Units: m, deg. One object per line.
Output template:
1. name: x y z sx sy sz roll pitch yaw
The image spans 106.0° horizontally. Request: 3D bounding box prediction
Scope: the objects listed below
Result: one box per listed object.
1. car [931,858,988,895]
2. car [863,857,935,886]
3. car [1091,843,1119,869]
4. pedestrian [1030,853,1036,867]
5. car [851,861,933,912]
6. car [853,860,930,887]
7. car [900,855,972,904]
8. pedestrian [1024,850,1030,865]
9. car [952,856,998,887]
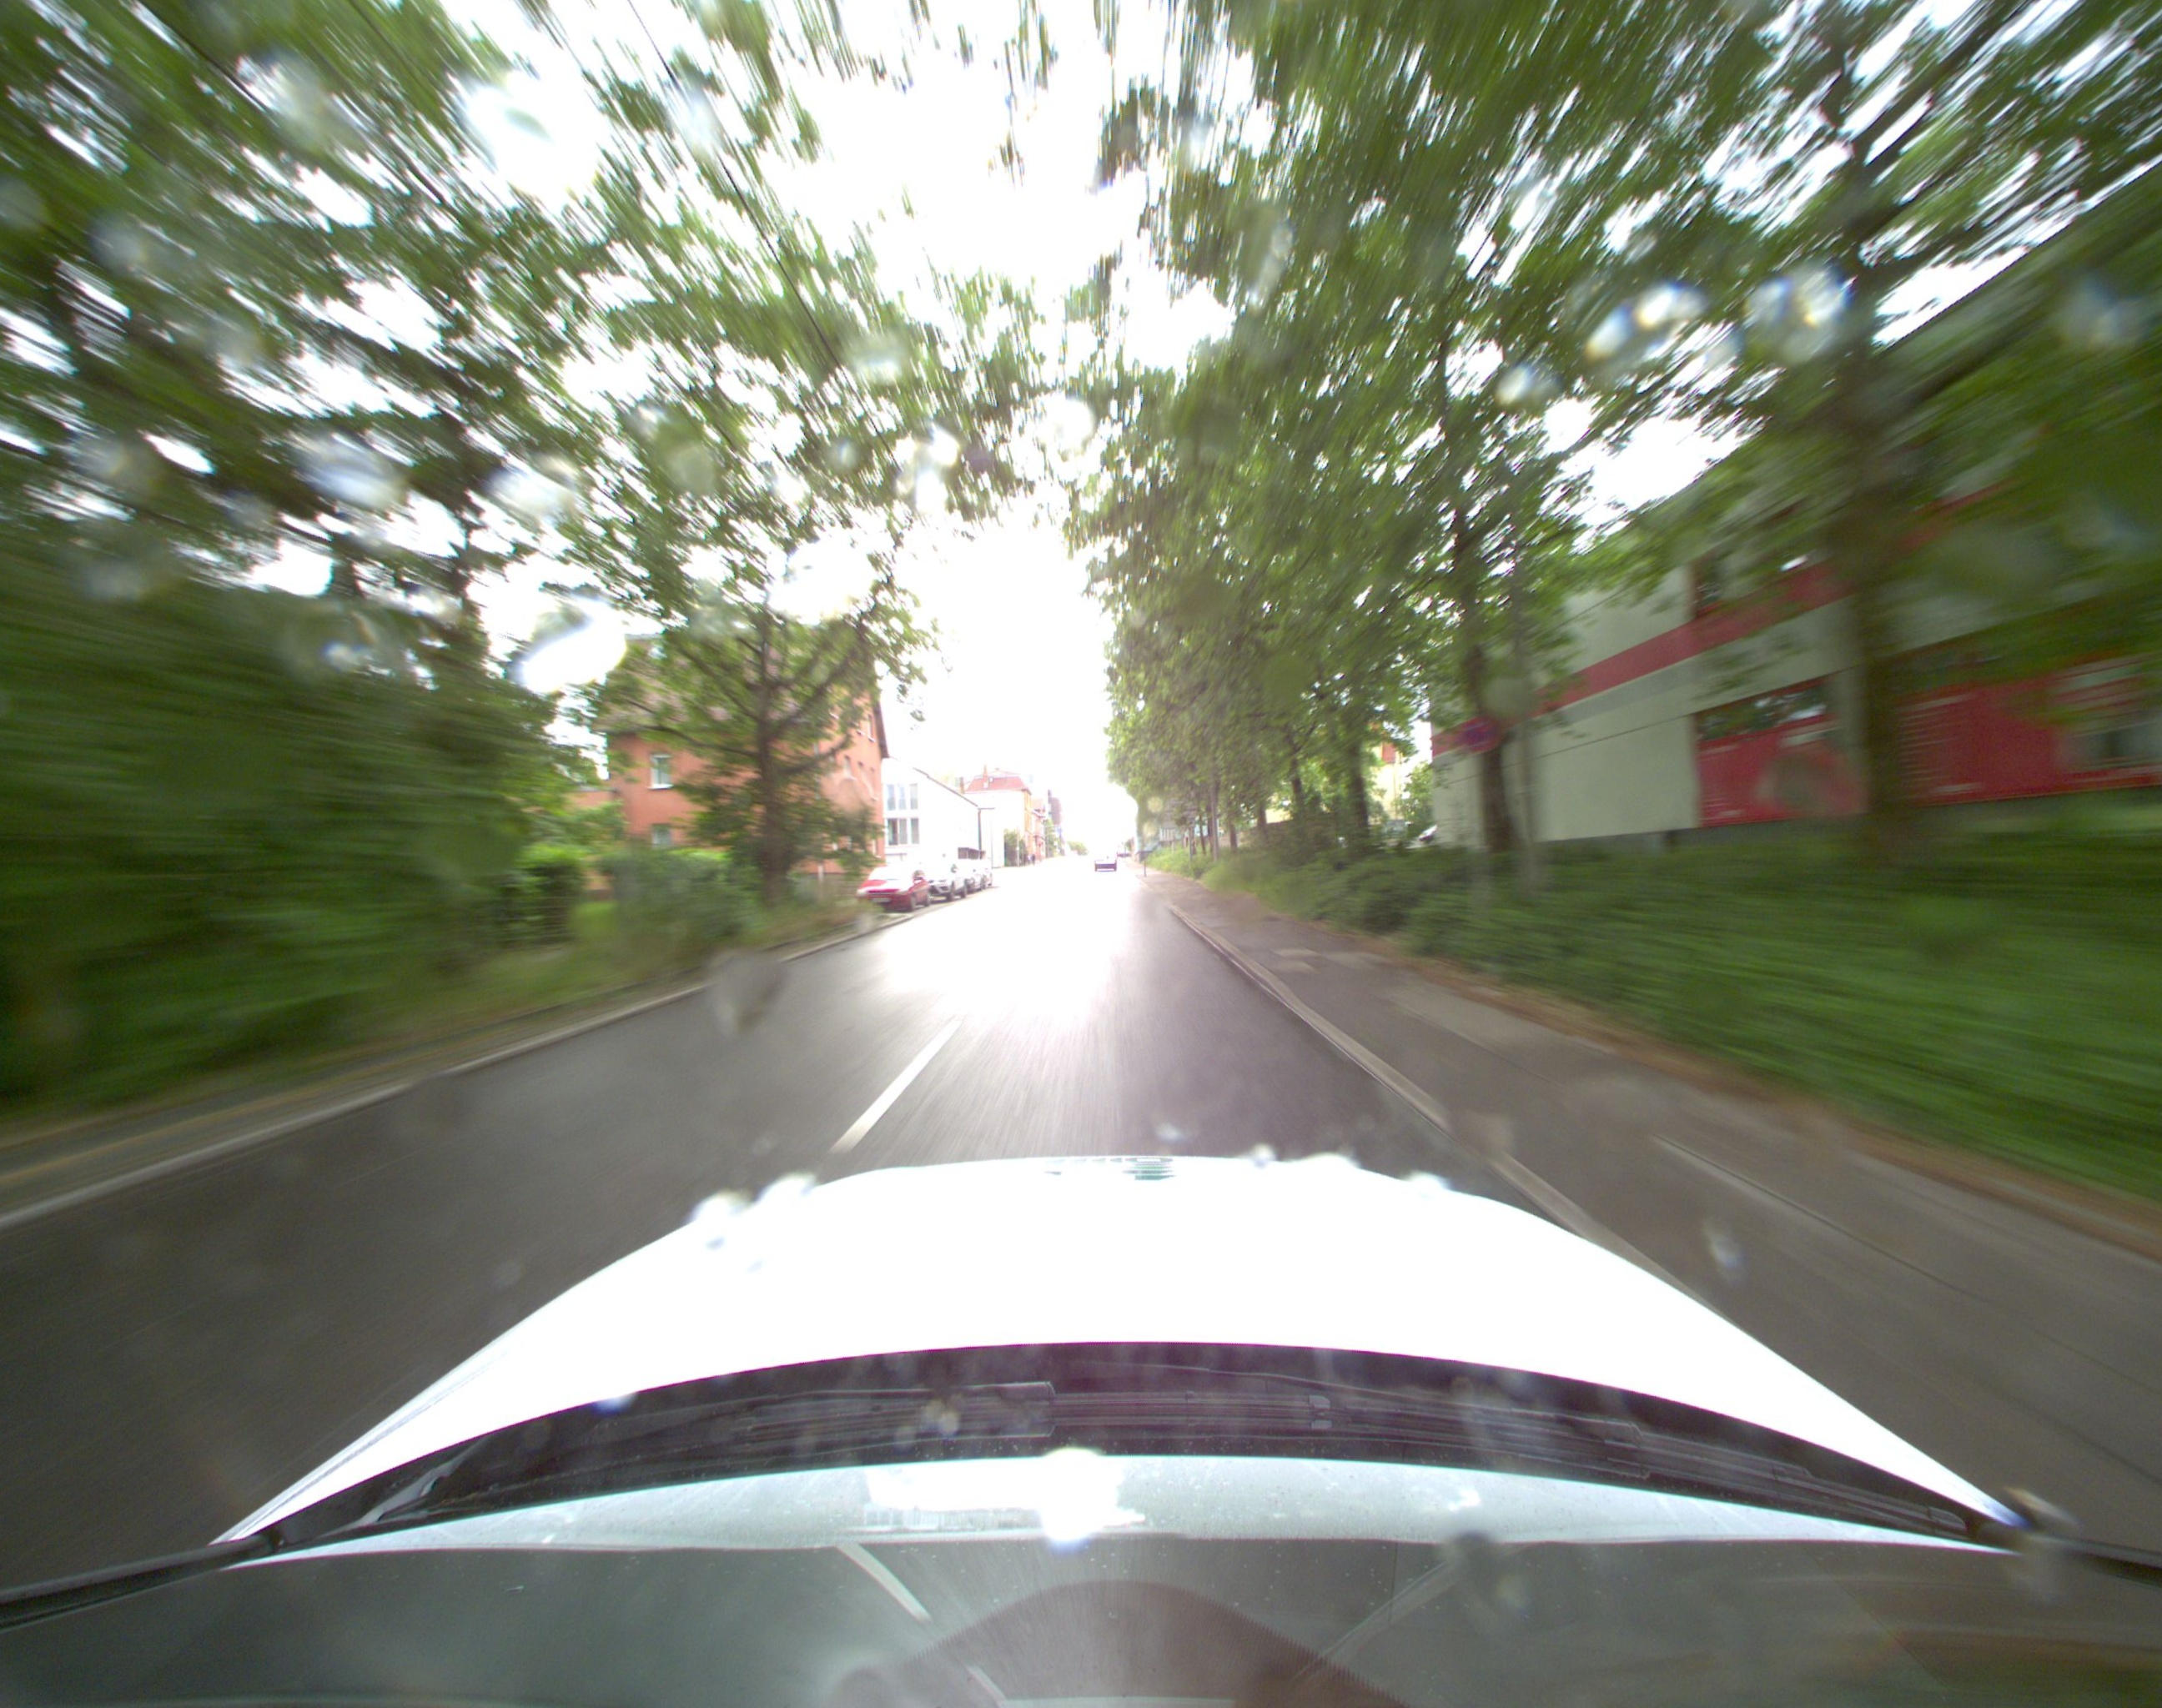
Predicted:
1. car: -5.369 0.968 36.514 1.737 1.482 4.387 -2 0 2
2. car: -12.077 1.149 54.202 4.131 1.698 2.003 -3 0 4
3. car: 2.226 0.217 74.099 2.327 2.231 4.002 -3 -2 2
4. pedestrian: -6.733 0.814 115.283 0.668 2.013 0.943 -2 0 6
5. car: -5.706 0.935 25.006 1.633 1.373 3.758 -1 0 0
6. car: -11.899 1.228 51.382 4.273 1.463 2.069 -3 0 1
7. car: -5.327 0.894 30.406 1.684 1.542 4.119 -5 1 2
8. pedestrian: -7.655 0.505 115.043 0.668 2.013 0.943 -2 0 6
9. car: -5.351 0.856 41.545 1.628 1.482 4.360 0 -1 2
